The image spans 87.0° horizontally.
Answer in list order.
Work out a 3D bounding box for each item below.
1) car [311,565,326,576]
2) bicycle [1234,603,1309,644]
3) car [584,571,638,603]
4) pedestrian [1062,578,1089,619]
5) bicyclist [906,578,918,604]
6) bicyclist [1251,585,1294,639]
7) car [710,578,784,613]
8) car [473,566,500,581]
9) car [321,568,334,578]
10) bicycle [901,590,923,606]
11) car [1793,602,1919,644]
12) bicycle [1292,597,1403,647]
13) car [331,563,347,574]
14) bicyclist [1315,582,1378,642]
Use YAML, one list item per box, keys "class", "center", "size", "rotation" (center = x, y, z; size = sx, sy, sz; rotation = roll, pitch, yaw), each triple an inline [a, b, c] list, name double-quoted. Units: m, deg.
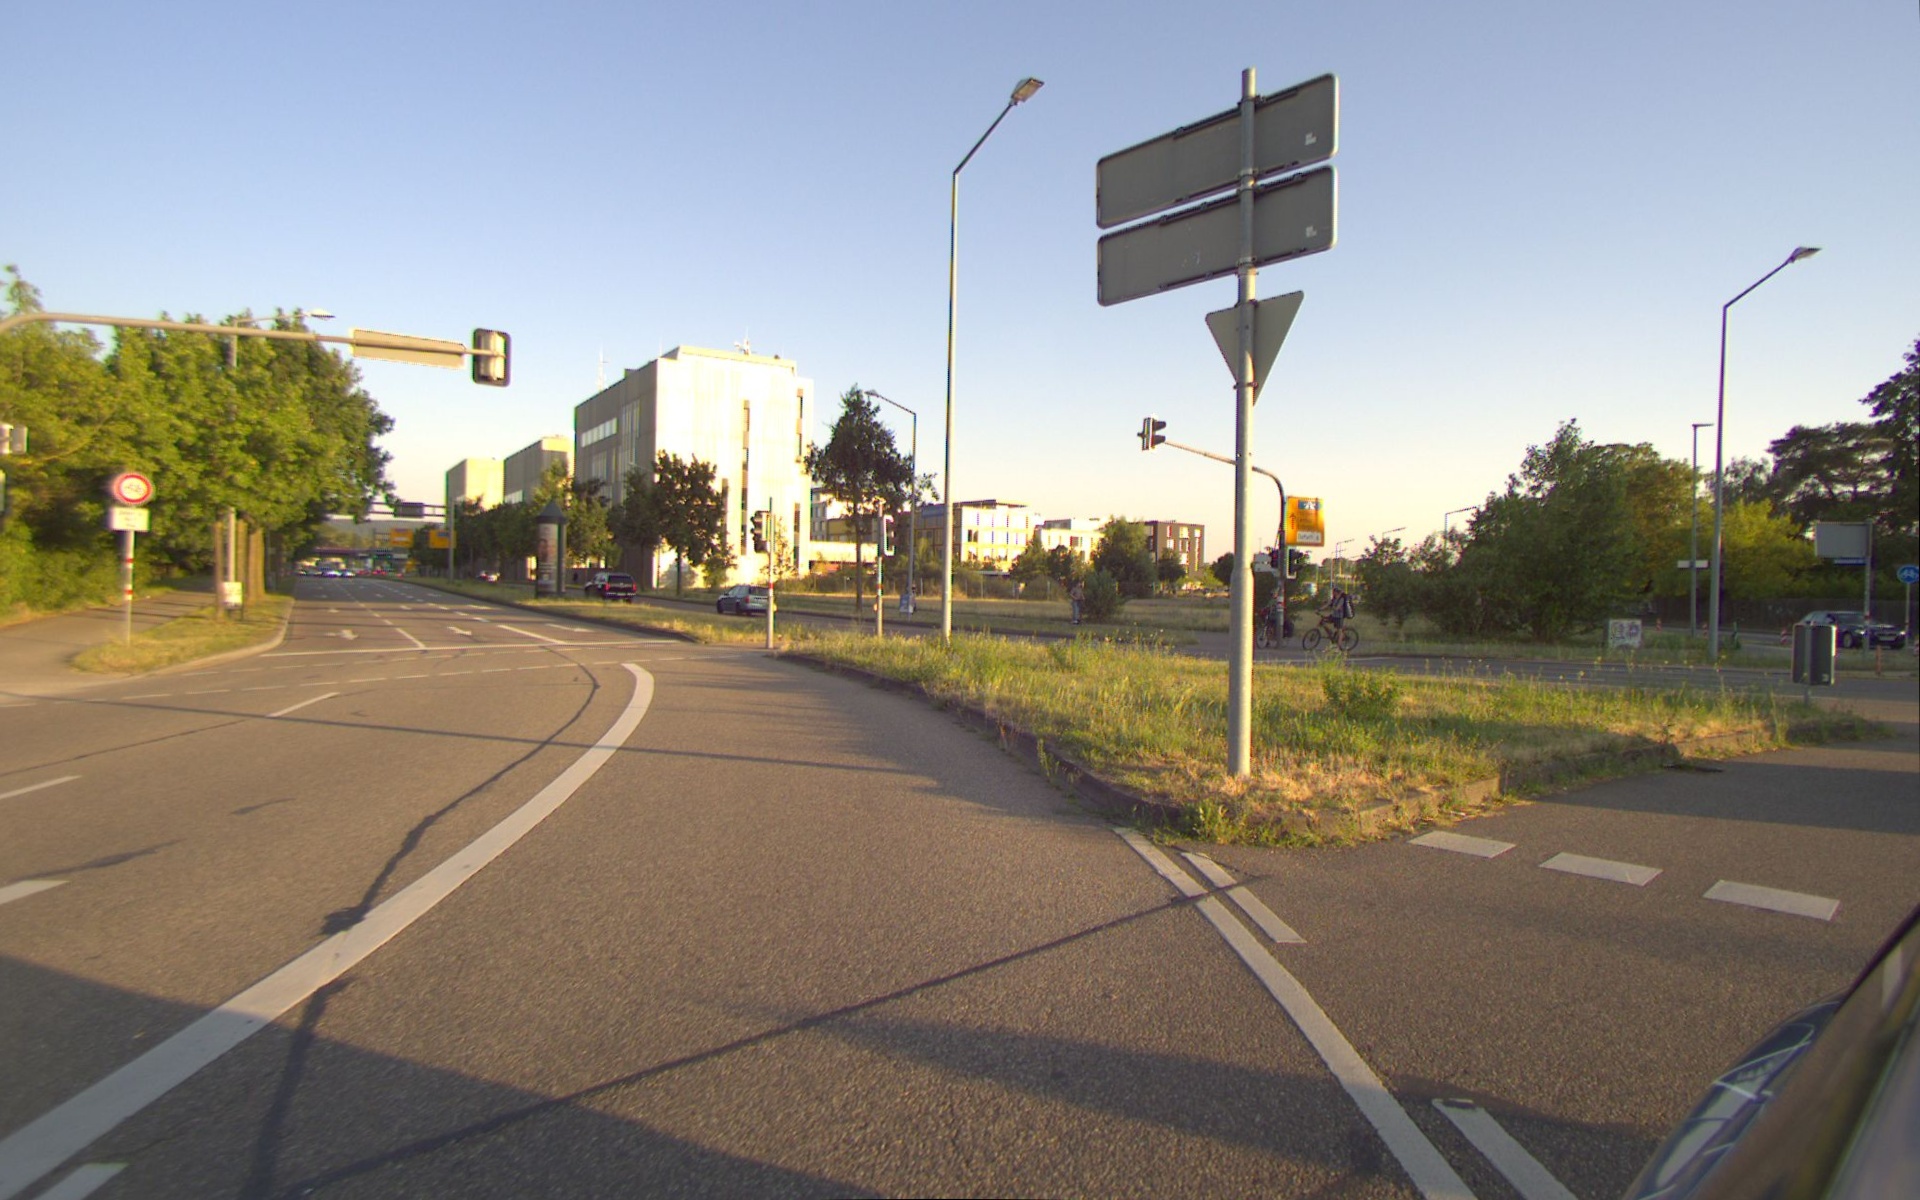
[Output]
- class: "car"
  center: [-102.697, -4.755, 162.104]
  size: [1.961, 1.635, 4.003]
  rotation: [1, 1, -32]
- class: "bicycle"
  center: [9.853, 0.718, 31.985]
  size: [2.280, 1.193, 0.812]
  rotation: [-1, 3, -23]
- class: "car"
  center: [-20.310, -0.755, 58.810]
  size: [1.962, 1.772, 4.132]
  rotation: [1, 1, -35]
- class: "pedestrian"
  center: [4.916, -0.067, 43.119]
  size: [0.706, 1.722, 0.891]
  rotation: [1, 0, -32]
- class: "bicyclist"
  center: [-2.668, -0.499, 56.570]
  size: [0.465, 1.415, 0.448]
  rotation: [1, 1, -38]
- class: "bicyclist"
  center: [9.884, 0.358, 31.978]
  size: [0.980, 1.652, 0.812]
  rotation: [-1, 3, -23]
- class: "car"
  center: [-10.179, -0.219, 48.152]
  size: [1.962, 1.566, 4.132]
  rotation: [1, 1, -35]
- class: "car"
  center: [-51.229, -2.832, 109.454]
  size: [1.962, 1.566, 4.132]
  rotation: [1, 1, -35]
- class: "car"
  center: [-114.138, -4.891, 182.698]
  size: [1.961, 1.635, 4.003]
  rotation: [1, 1, -32]
- class: "bicycle"
  center: [-2.682, -0.116, 56.589]
  size: [0.465, 0.801, 1.418]
  rotation: [1, 1, -38]
- class: "car"
  center: [37.029, 0.910, 41.797]
  size: [1.808, 1.519, 4.253]
  rotation: [1, 1, 2]
- class: "bicycle"
  center: [11.862, 0.662, 30.956]
  size: [3.466, 1.412, 1.126]
  rotation: [1, 1, -27]
- class: "car"
  center: [-92.398, -4.699, 150.460]
  size: [1.961, 1.635, 4.003]
  rotation: [1, 1, -32]
- class: "bicyclist"
  center: [11.784, 0.360, 30.893]
  size: [1.388, 1.770, 1.126]
  rotation: [1, 1, -27]
